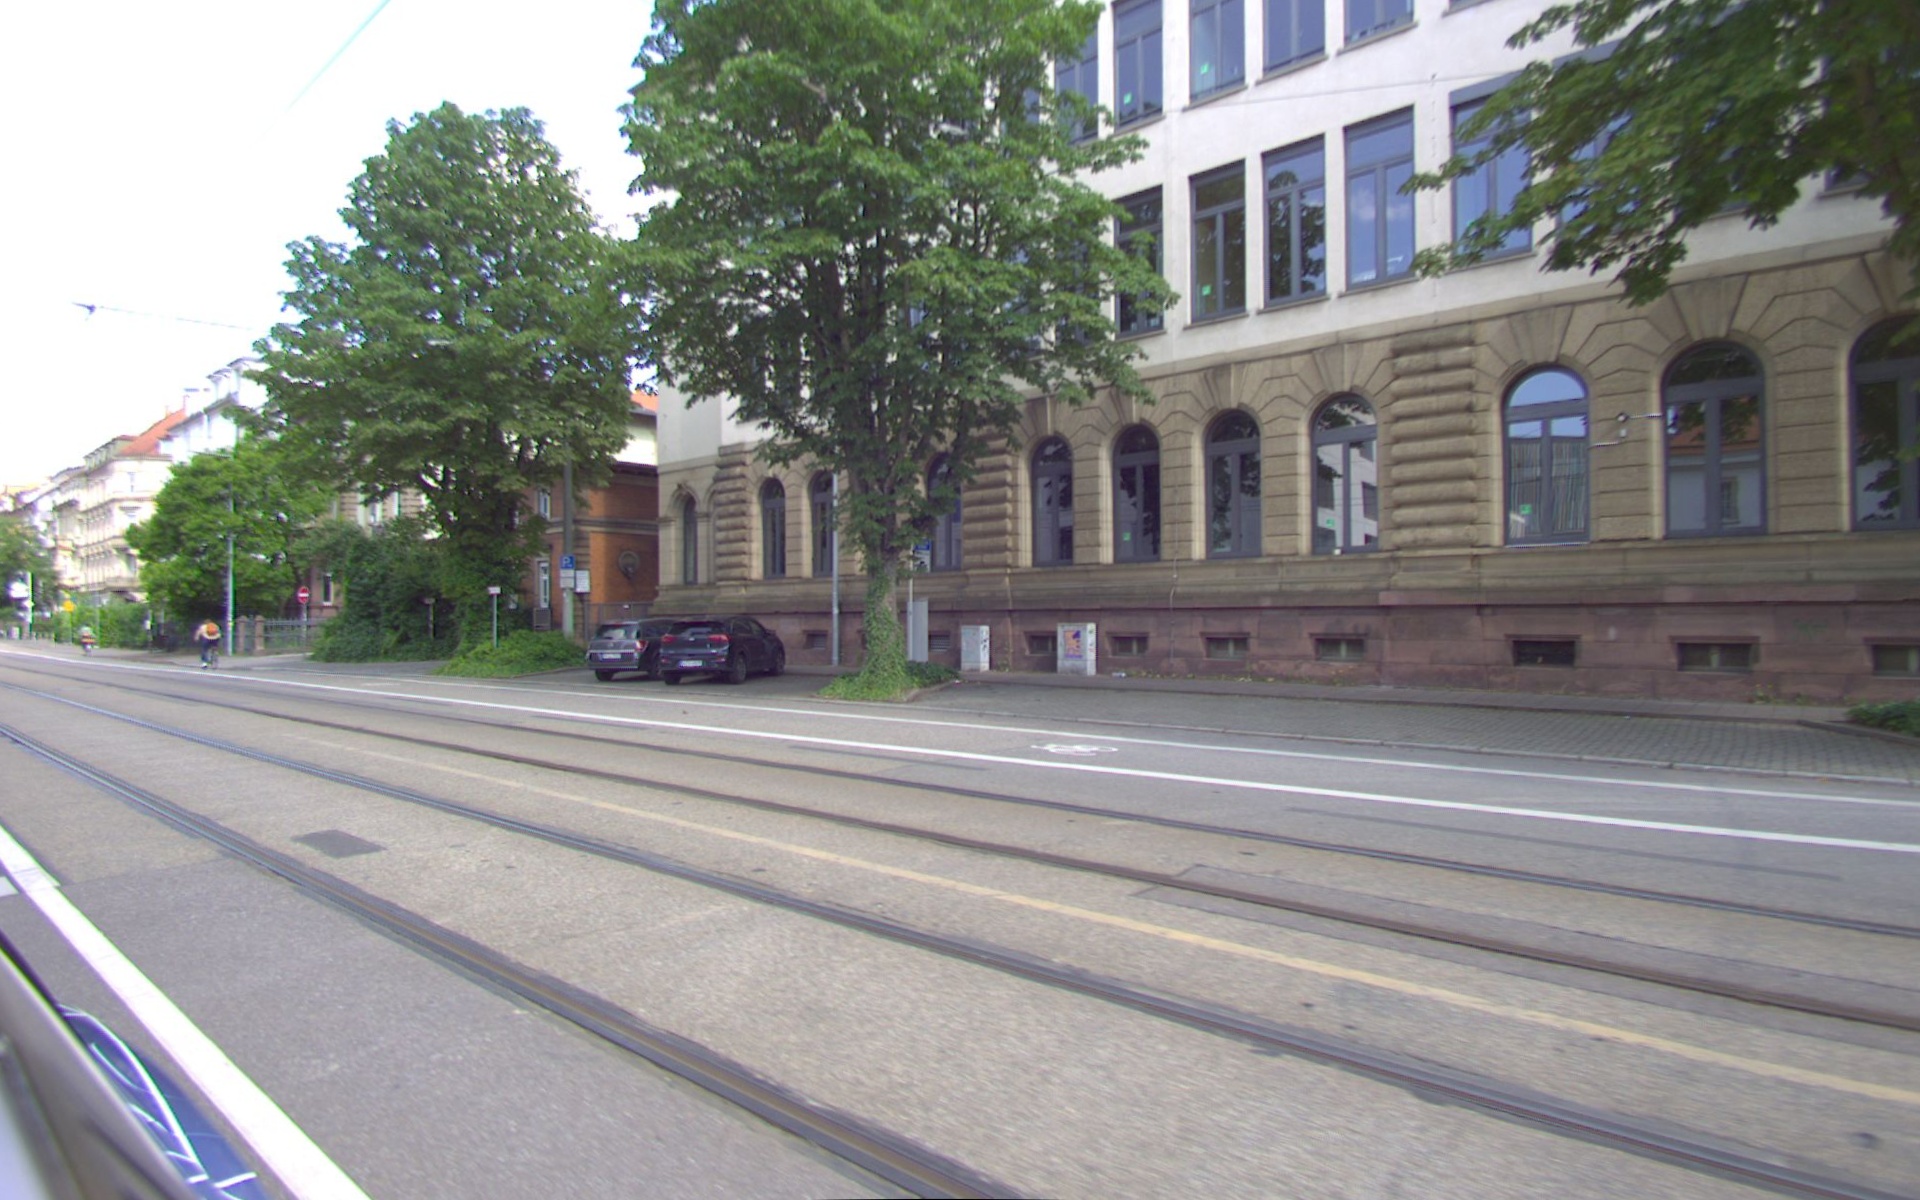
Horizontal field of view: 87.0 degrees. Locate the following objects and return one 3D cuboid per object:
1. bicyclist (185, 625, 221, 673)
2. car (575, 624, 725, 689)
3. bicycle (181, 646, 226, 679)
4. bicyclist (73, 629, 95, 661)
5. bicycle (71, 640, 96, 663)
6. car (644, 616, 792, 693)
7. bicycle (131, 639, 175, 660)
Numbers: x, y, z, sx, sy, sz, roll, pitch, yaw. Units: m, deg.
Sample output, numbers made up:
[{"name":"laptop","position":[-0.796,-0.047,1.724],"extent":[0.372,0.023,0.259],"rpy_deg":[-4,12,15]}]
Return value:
[{"name":"bicyclist","position":[-24.732,1.609,33.050],"extent":[0.866,1.531,0.684],"rpy_deg":[-2,-3,37]},{"name":"car","position":[-7.669,1.365,25.479],"extent":[1.776,1.458,4.224],"rpy_deg":[-1,-1,13]},{"name":"bicycle","position":[-24.674,2.029,32.996],"extent":[1.816,1.025,0.692],"rpy_deg":[-2,-3,37]},{"name":"bicyclist","position":[-43.104,2.223,49.817],"extent":[0.882,1.504,0.593],"rpy_deg":[-3,-8,43]},{"name":"bicycle","position":[-43.122,2.531,49.792],"extent":[2.022,1.105,0.596],"rpy_deg":[-3,-8,43]},{"name":"car","position":[-5.555,1.201,23.797],"extent":[1.905,1.562,4.230],"rpy_deg":[-2,-1,9]},{"name":"bicycle","position":[-40.147,2.459,50.357],"extent":[2.986,0.915,1.131],"rpy_deg":[-2,1,40]}]
